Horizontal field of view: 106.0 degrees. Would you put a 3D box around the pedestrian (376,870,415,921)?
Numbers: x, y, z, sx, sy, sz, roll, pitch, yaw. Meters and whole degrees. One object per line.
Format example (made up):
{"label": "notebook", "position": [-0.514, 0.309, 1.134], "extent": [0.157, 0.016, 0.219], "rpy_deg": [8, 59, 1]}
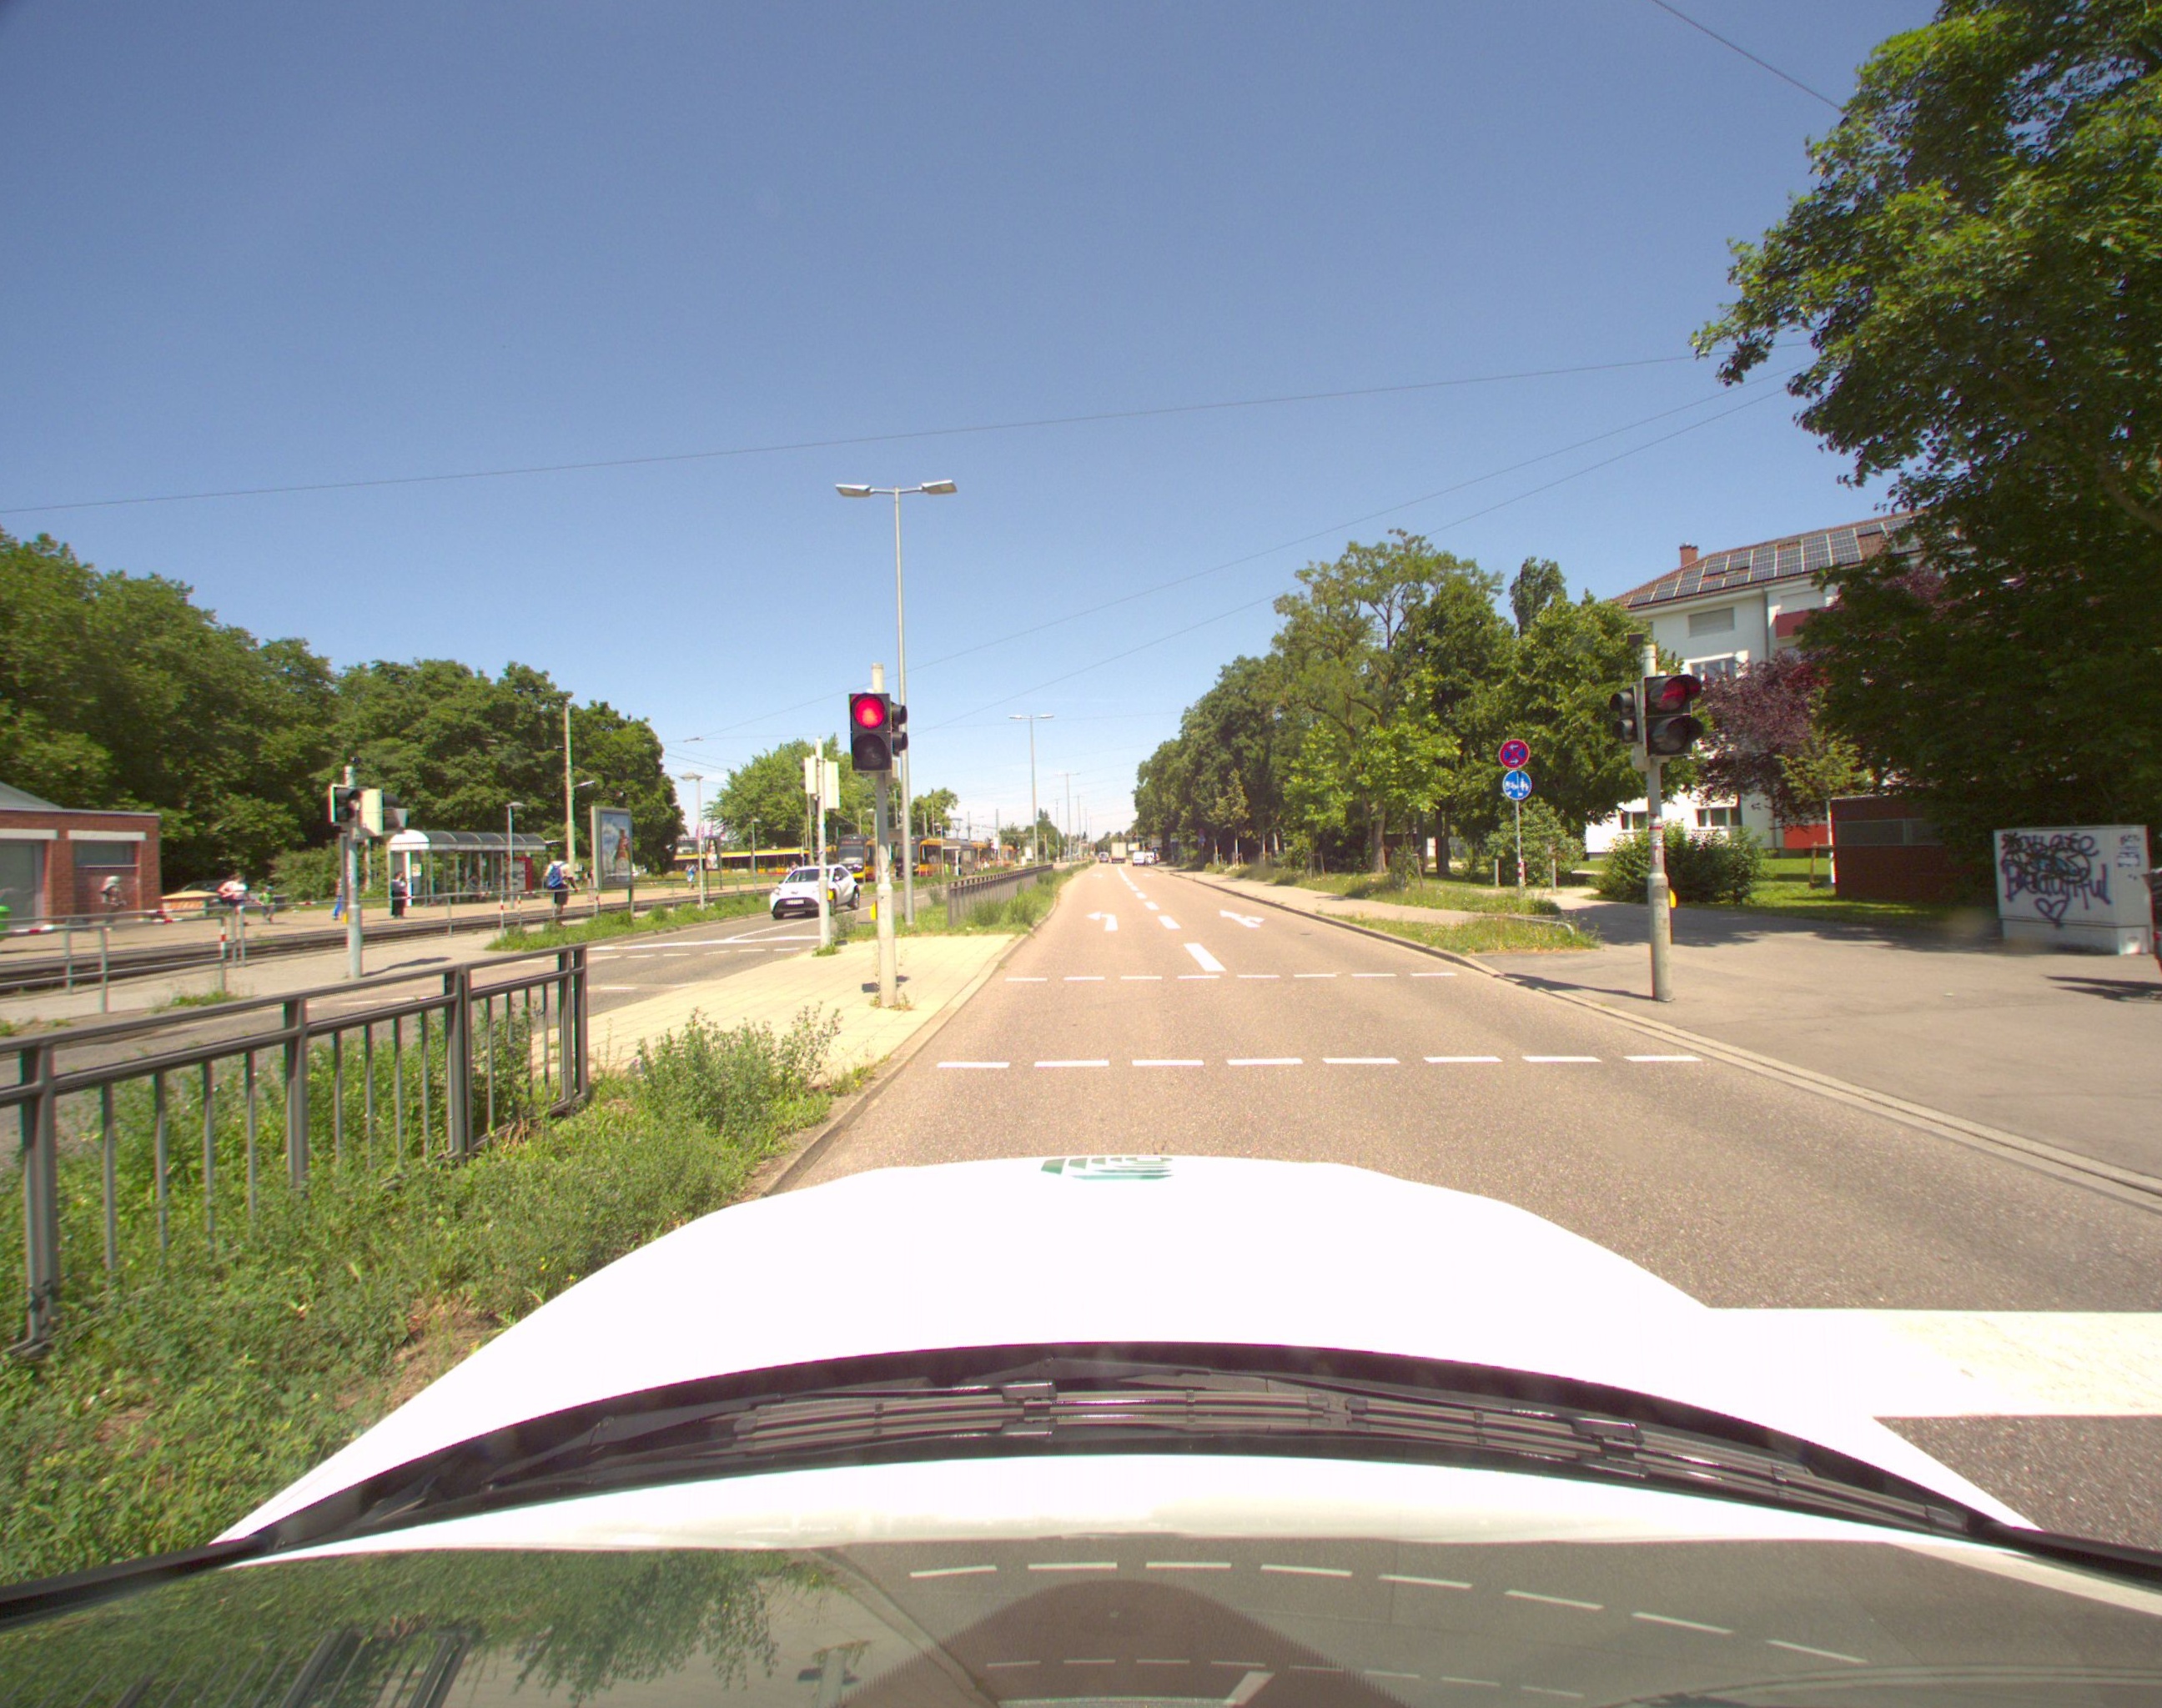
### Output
{"label": "pedestrian", "position": [-21.577, 1.288, 25.651], "extent": [0.635, 1.555, 0.691], "rpy_deg": [-2, 0, -11]}

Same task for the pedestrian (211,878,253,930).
{"label": "pedestrian", "position": [-24.397, 1.431, 23.404], "extent": [0.634, 1.456, 0.585], "rpy_deg": [-2, 0, 16]}

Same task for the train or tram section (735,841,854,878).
{"label": "train or tram section", "position": [-34.053, 0.763, 95.928], "extent": [18.259, 3.931, 3.247], "rpy_deg": [-2, 0, 35]}

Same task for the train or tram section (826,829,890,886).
{"label": "train or tram section", "position": [-17.823, 0.269, 66.445], "extent": [3.216, 3.931, 18.434], "rpy_deg": [-2, 0, -10]}

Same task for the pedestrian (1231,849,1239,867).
{"label": "pedestrian", "position": [12.657, 0.311, 66.889], "extent": [0.600, 1.438, 0.557], "rpy_deg": [-2, 0, 8]}

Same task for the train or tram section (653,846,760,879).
{"label": "train or tram section", "position": [-49.077, 1.148, 106.213], "extent": [18.260, 3.931, 3.247], "rpy_deg": [-2, 0, 32]}

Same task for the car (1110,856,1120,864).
{"label": "car", "position": [6.492, 1.140, 153.695], "extent": [1.804, 1.464, 4.002], "rpy_deg": [-2, 0, 2]}

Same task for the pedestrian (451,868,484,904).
{"label": "pedestrian", "position": [-26.282, 1.370, 34.904], "extent": [0.836, 1.511, 0.723], "rpy_deg": [-2, 0, 12]}

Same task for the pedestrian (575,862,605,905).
{"label": "pedestrian", "position": [-21.215, 1.249, 35.192], "extent": [0.715, 1.777, 0.843], "rpy_deg": [3, 2, 1]}

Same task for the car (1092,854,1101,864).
{"label": "car", "position": [3.333, 1.091, 175.339], "extent": [1.986, 2.013, 4.002], "rpy_deg": [-2, 0, 2]}

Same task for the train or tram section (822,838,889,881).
{"label": "train or tram section", "position": [-23.366, 0.601, 83.348], "extent": [3.232, 3.931, 18.340], "rpy_deg": [-1, 0, -26]}

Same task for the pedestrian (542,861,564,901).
{"label": "pedestrian", "position": [-24.284, 1.233, 37.462], "extent": [0.725, 1.800, 0.835], "rpy_deg": [-1, 0, -41]}

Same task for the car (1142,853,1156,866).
{"label": "car", "position": [9.390, 0.715, 112.427], "extent": [1.773, 1.668, 4.002], "rpy_deg": [-2, 0, 2]}

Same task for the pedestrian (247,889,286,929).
{"label": "pedestrian", "position": [-24.096, 1.623, 24.099], "extent": [0.634, 1.124, 0.572], "rpy_deg": [-2, 0, 16]}

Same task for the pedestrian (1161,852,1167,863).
{"label": "pedestrian", "position": [16.747, 0.691, 164.140], "extent": [1.180, 2.013, 1.214], "rpy_deg": [-2, 0, 1]}

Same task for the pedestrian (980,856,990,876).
{"label": "pedestrian", "position": [-9.908, 1.237, 84.073], "extent": [0.812, 2.013, 0.939], "rpy_deg": [-2, 0, 1]}

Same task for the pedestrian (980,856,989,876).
{"label": "pedestrian", "position": [-10.128, 1.249, 85.373], "extent": [0.812, 2.013, 0.939], "rpy_deg": [-2, 0, 1]}

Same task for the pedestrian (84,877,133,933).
{"label": "pedestrian", "position": [-26.788, 1.398, 22.441], "extent": [0.636, 1.480, 0.570], "rpy_deg": [-2, 0, 1]}

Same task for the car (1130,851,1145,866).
{"label": "car", "position": [7.301, 0.559, 105.546], "extent": [1.773, 1.903, 4.002], "rpy_deg": [-2, 0, 2]}

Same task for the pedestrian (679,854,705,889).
{"label": "pedestrian", "position": [-22.912, 1.038, 47.989], "extent": [0.977, 2.013, 1.021], "rpy_deg": [-2, 0, 1]}

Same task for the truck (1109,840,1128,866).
{"label": "truck", "position": [6.777, -0.174, 146.143], "extent": [3.193, 4.359, 6.563], "rpy_deg": [-2, 0, 2]}

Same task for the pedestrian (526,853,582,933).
{"label": "pedestrian", "position": [-12.404, 0.906, 19.188], "extent": [0.715, 1.777, 0.843], "rpy_deg": [3, 2, 1]}

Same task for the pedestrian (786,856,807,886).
{"label": "pedestrian", "position": [-19.458, 1.142, 55.649], "extent": [0.977, 2.013, 1.021], "rpy_deg": [-2, 0, 1]}

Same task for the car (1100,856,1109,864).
{"label": "car", "position": [4.564, 1.167, 158.012], "extent": [1.804, 1.464, 4.002], "rpy_deg": [-2, 0, 2]}

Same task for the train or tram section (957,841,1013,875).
{"label": "train or tram section", "position": [-12.300, 0.498, 108.863], "extent": [2.921, 3.789, 33.091], "rpy_deg": [-2, 0, 1]}

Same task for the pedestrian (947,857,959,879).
{"label": "pedestrian", "position": [-10.977, 1.198, 69.736], "extent": [0.783, 1.868, 0.818], "rpy_deg": [-2, 0, 1]}

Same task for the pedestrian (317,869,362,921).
{"label": "pedestrian", "position": [-23.626, 1.289, 25.962], "extent": [0.669, 1.590, 0.808], "rpy_deg": [-2, 0, 1]}

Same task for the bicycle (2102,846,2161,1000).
{"label": "bicycle", "position": [9.306, 0.507, 6.303], "extent": [1.947, 1.161, 0.542], "rpy_deg": [-2, 2, 6]}

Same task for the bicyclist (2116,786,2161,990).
{"label": "bicyclist", "position": [9.339, 0.266, 6.658], "extent": [0.952, 1.666, 0.581], "rpy_deg": [-2, 2, 7]}

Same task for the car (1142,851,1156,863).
{"label": "car", "position": [9.912, 0.457, 118.768], "extent": [1.773, 1.668, 4.002], "rpy_deg": [-2, 0, 2]}

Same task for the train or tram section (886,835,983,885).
{"label": "train or tram section", "position": [-13.052, 0.468, 77.457], "extent": [2.947, 3.749, 30.041], "rpy_deg": [-2, 0, 2]}

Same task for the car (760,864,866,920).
{"label": "car", "position": [-8.094, 1.110, 24.977], "extent": [1.838, 1.494, 3.793], "rpy_deg": [-2, 0, 2]}
